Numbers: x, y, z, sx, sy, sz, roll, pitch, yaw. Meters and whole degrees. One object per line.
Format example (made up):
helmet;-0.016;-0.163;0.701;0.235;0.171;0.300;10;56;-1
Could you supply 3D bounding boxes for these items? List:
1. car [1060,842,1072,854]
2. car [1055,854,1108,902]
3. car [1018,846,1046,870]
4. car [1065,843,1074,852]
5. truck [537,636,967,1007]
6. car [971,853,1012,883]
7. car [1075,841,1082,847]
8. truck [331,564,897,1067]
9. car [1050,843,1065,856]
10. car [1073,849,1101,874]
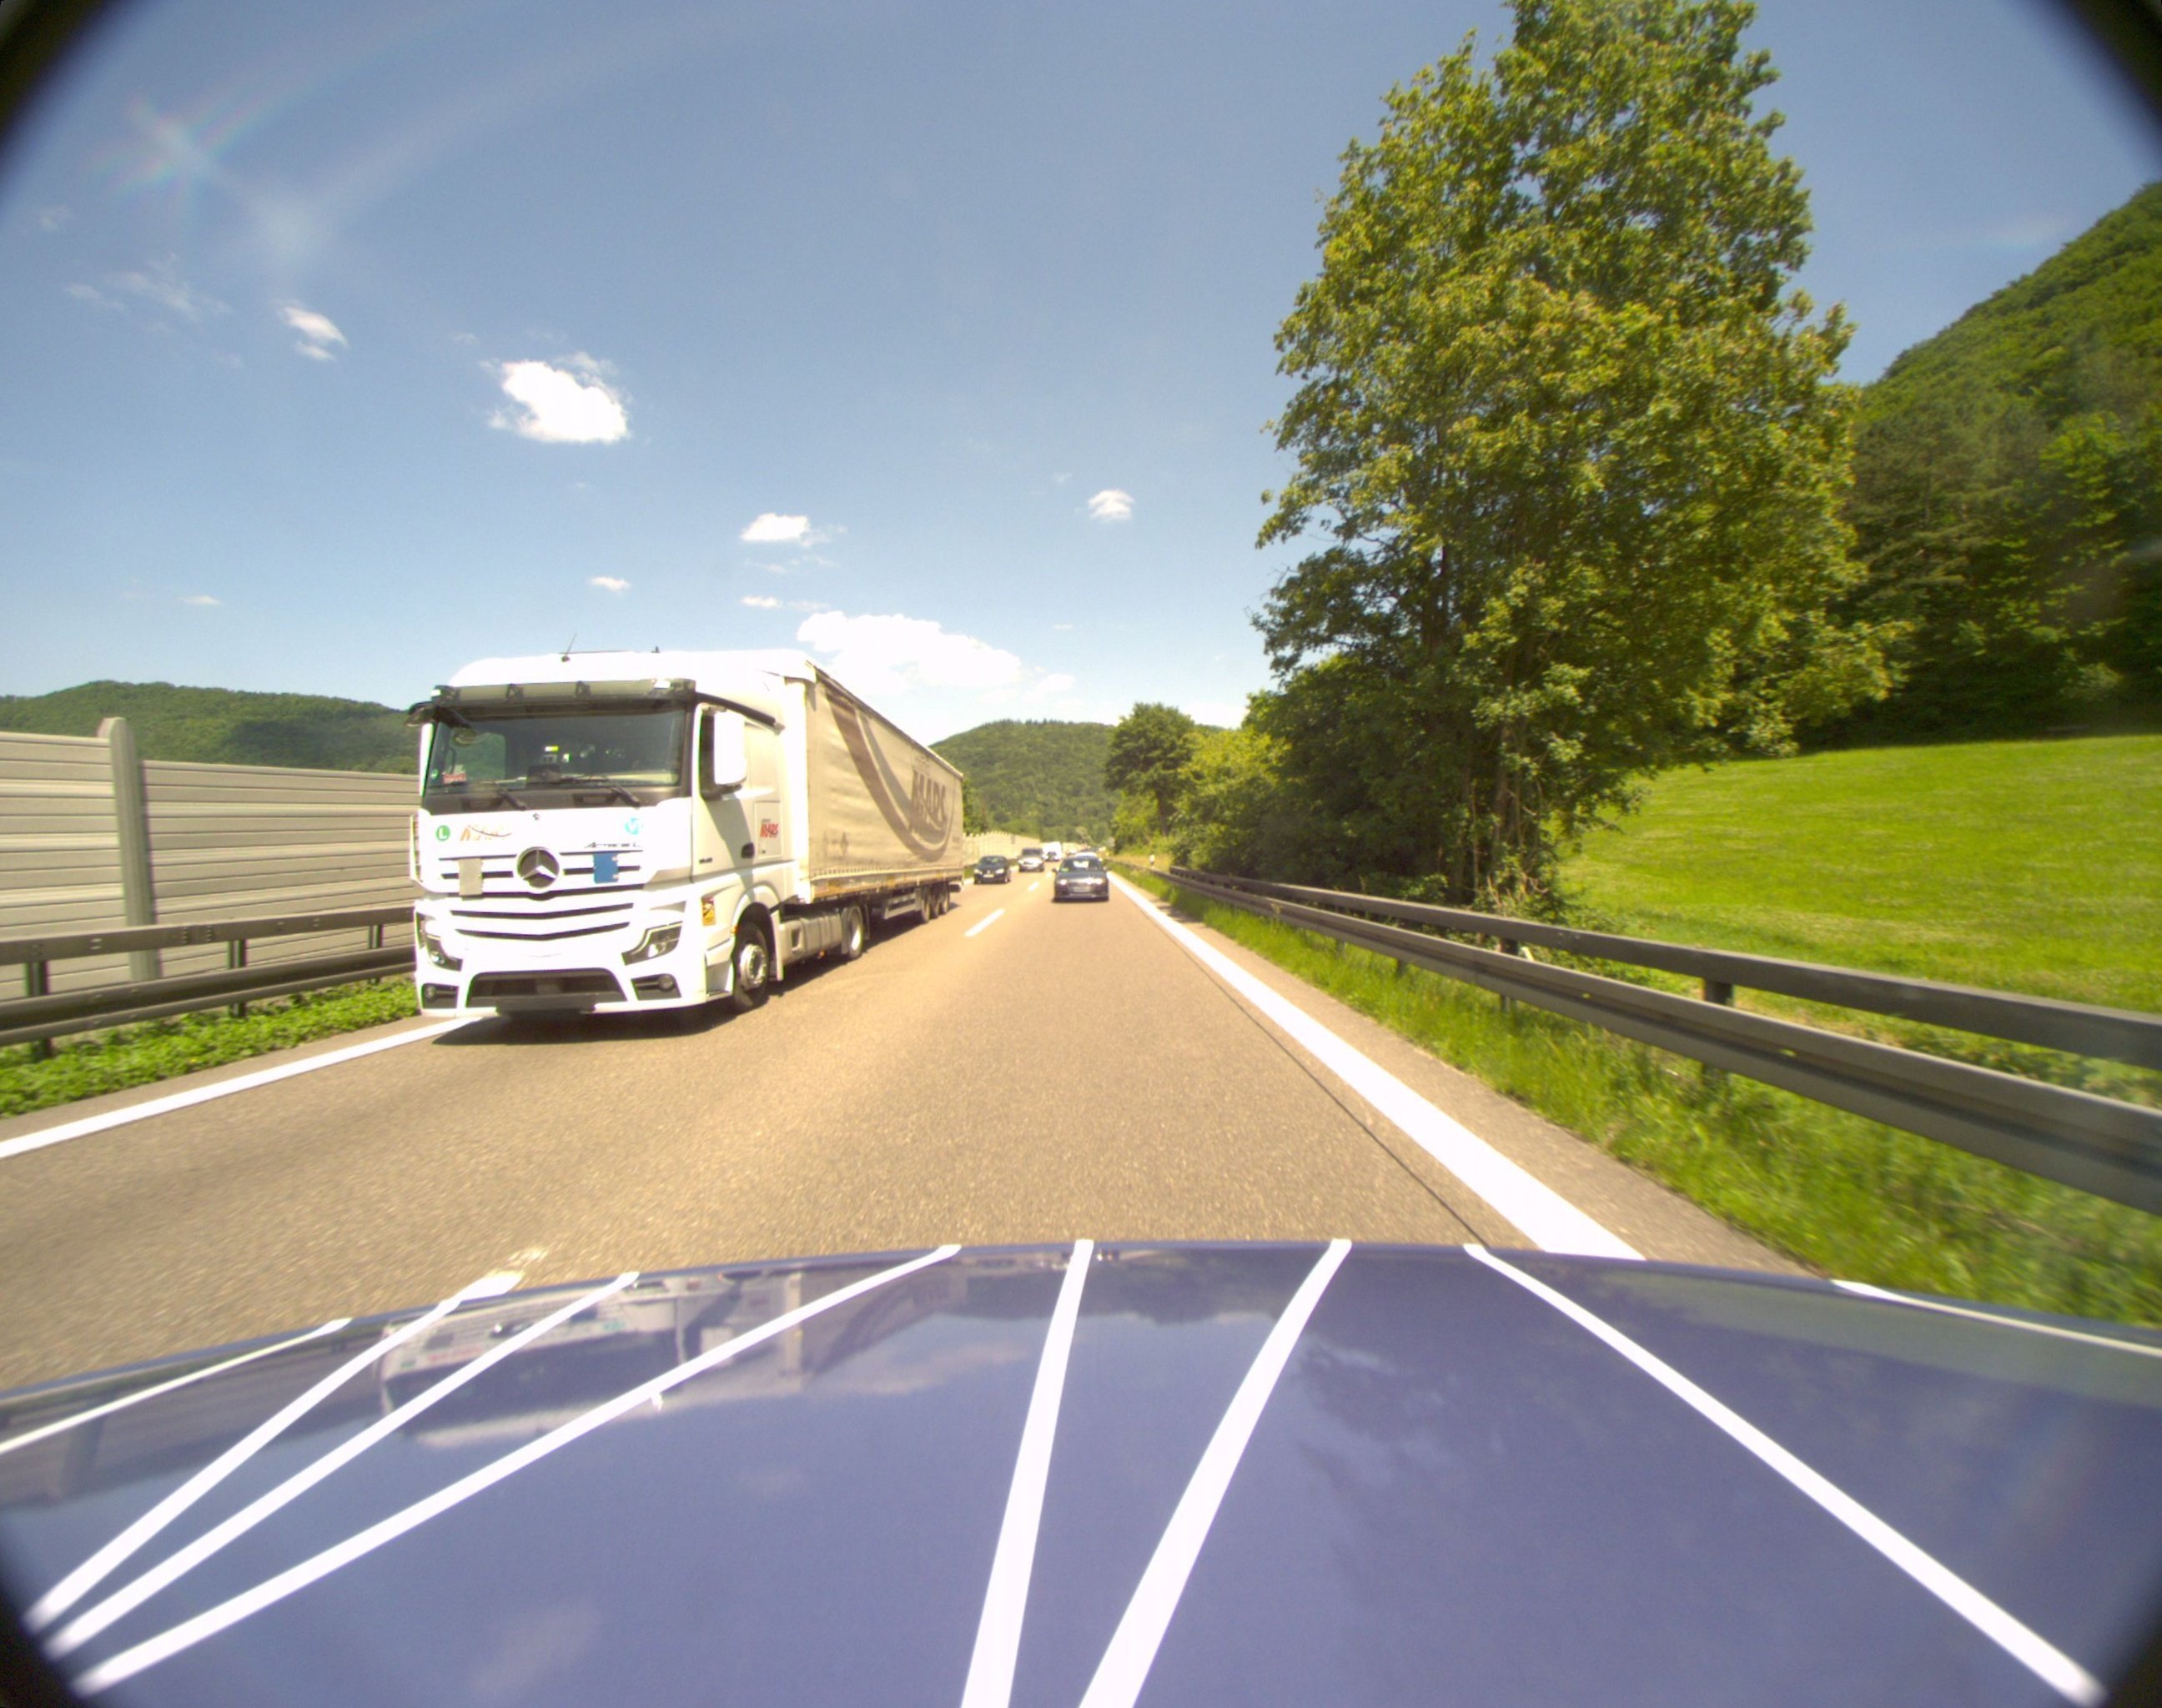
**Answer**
car;-2.720;-1.132;141.661;1.998;2.002;3.999;4;1;0
car;0.033;0.750;25.700;1.662;1.436;3.474;0;1;0
car;-3.843;0.319;60.626;2.044;1.855;4.000;-1;0;-1
car;-2.857;-1.658;183.500;1.998;2.002;3.999;3;2;0
truck;-4.585;-0.457;14.544;2.861;4.124;12.044;-1;1;0
car;-4.566;0.701;39.123;1.662;1.405;3.474;0;1;0
car;-0.823;-2.942;226.234;1.999;1.722;3.999;3;1;0
truck;-4.609;-0.337;9.594;2.764;4.015;6.822;-1;1;0
car;-3.631;-0.651;117.275;1.998;1.892;4.000;1;0;1
car;0.366;0.460;48.957;1.715;1.541;3.999;0;1;0
